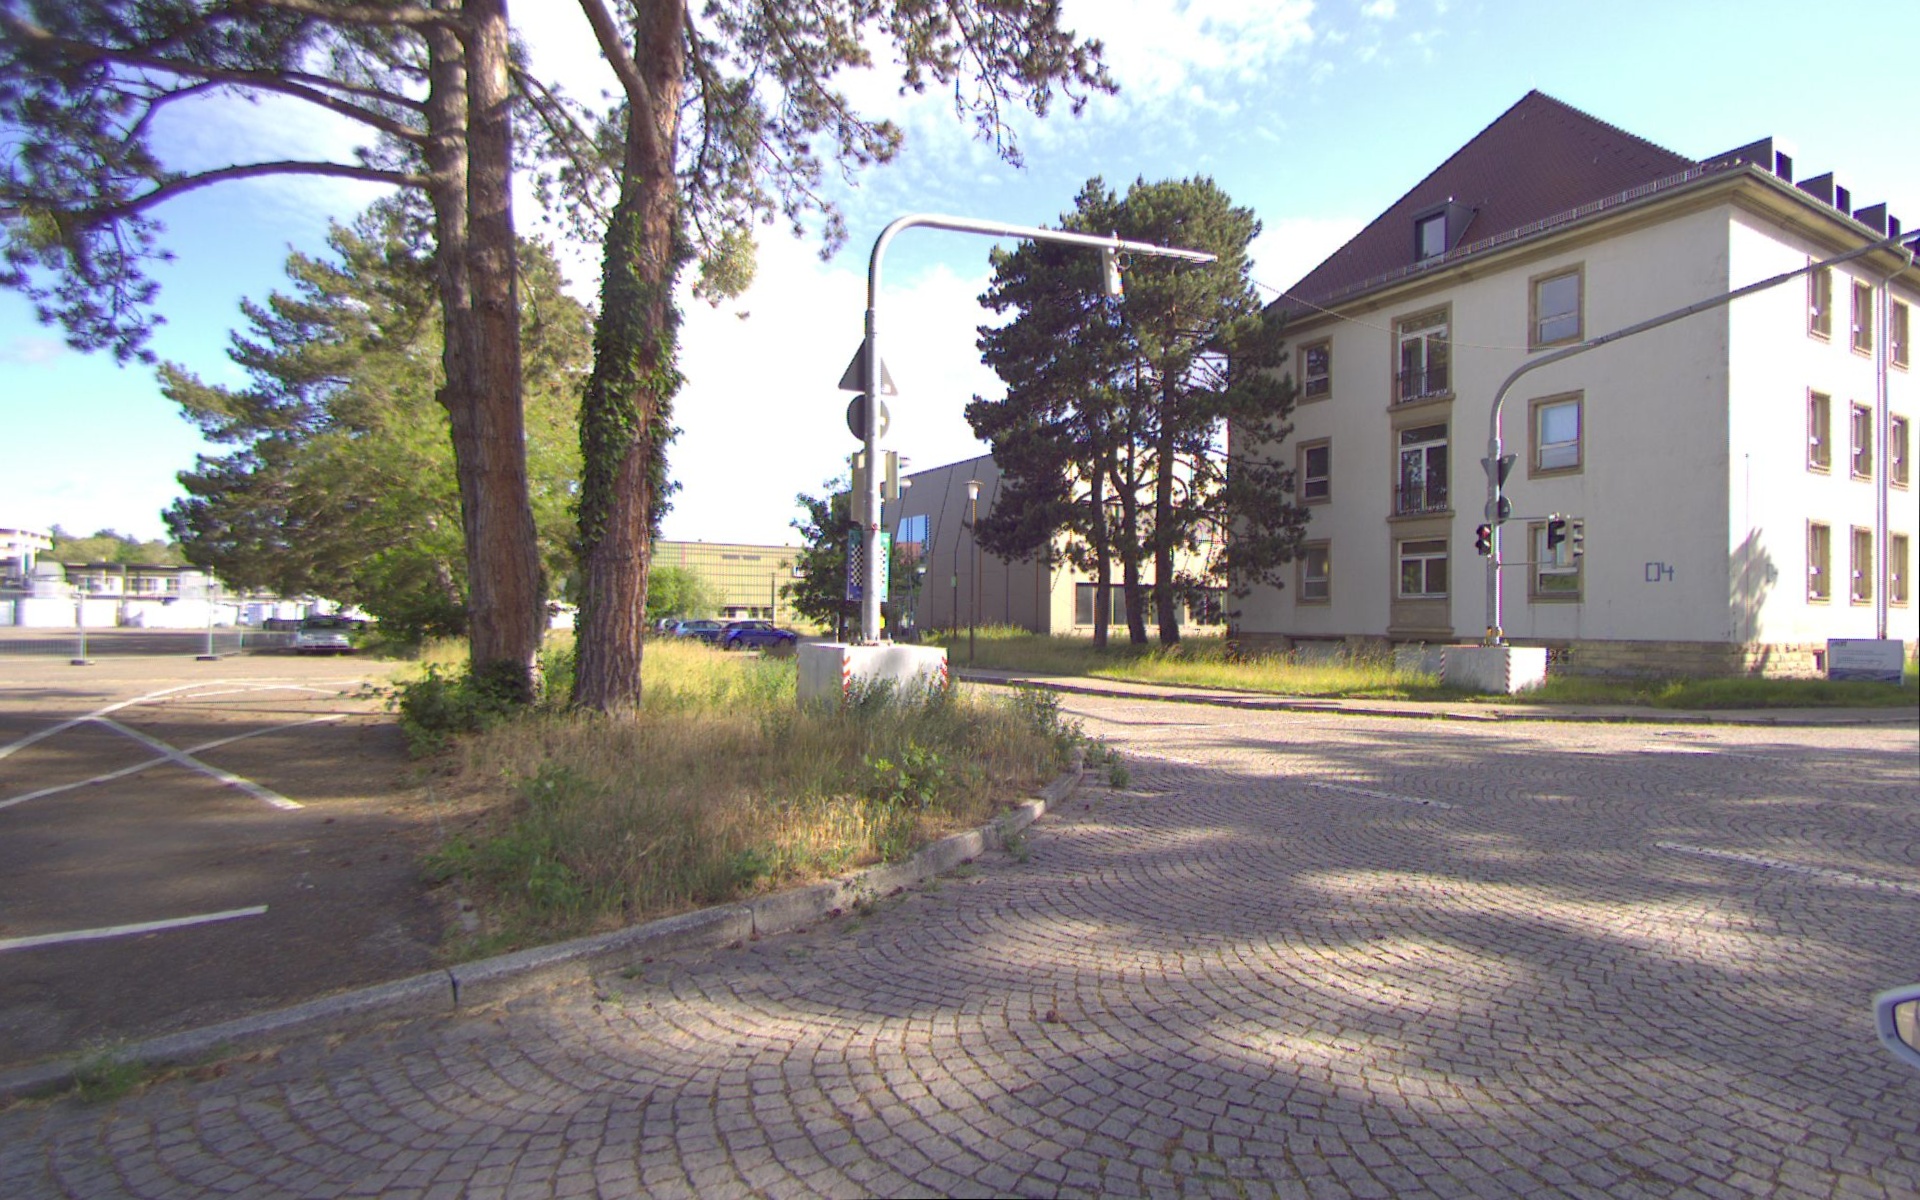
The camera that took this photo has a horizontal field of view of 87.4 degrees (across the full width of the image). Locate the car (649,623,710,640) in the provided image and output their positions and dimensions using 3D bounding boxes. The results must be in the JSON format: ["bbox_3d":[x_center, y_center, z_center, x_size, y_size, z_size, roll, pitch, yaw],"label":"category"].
[{"bbox_3d":[-18.248,2.046,65.402,3.633,1.090,1.400,1,-1,-28],"label":"car"}]

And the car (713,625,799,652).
[{"bbox_3d":[-10.330,1.941,50.874,4.001,1.311,1.481,1,-1,-29],"label":"car"}]

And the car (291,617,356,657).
[{"bbox_3d":[-23.292,1.324,36.845,1.726,1.388,3.596,1,-1,-28],"label":"car"}]

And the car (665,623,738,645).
[{"bbox_3d":[-15.131,1.977,58.852,3.949,1.221,1.481,1,-1,-28],"label":"car"}]
